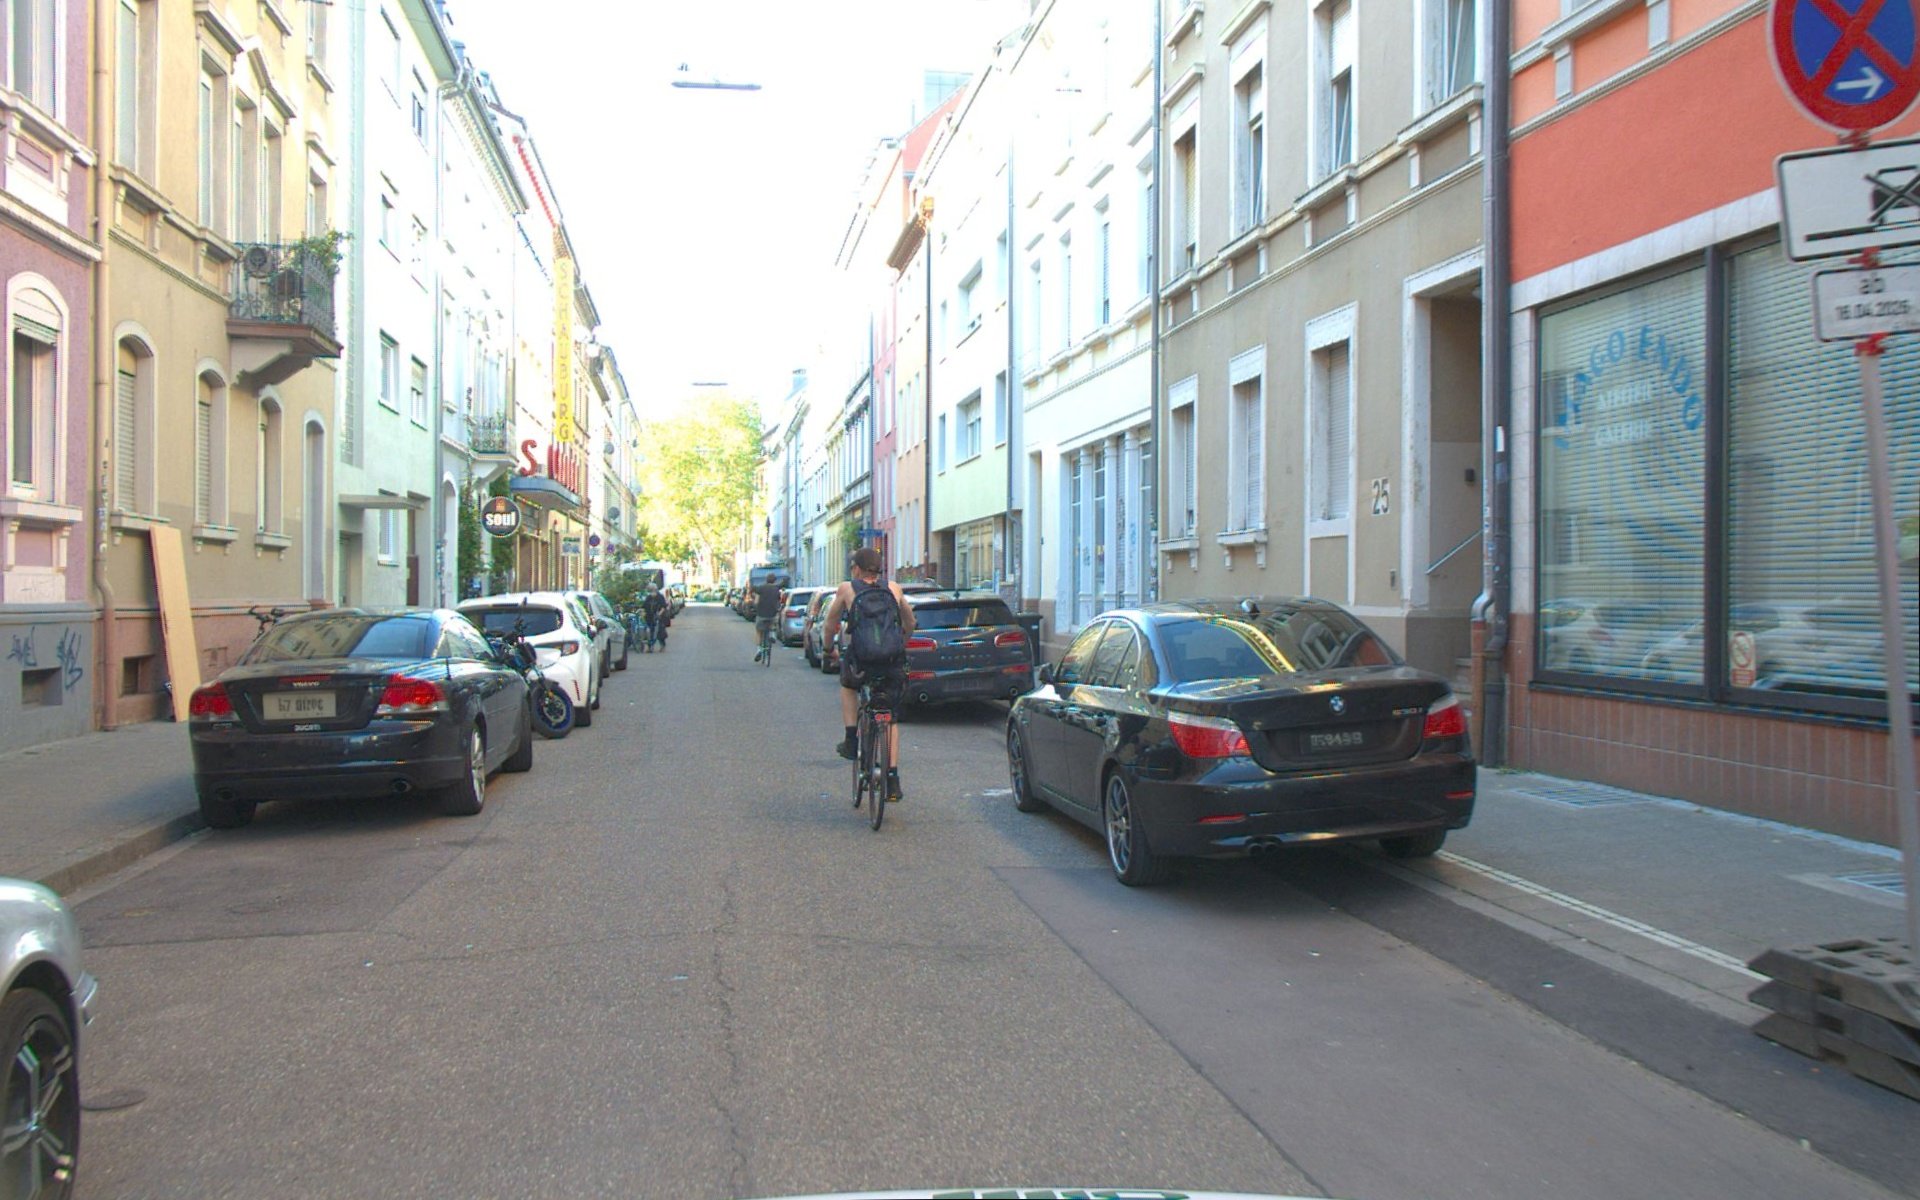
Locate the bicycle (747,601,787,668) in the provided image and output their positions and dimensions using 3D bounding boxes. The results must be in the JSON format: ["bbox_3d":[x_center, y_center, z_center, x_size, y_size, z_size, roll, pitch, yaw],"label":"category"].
[{"bbox_3d":[-3.855,0.661,32.896,0.689,1.229,2.337,0,1,-9],"label":"bicycle"}]

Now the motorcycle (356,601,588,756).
[{"bbox_3d":[-4.878,0.753,16.600,2.121,1.383,0.535,-3,2,-27],"label":"motorcycle"}]

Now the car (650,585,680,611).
[{"bbox_3d":[-17.546,-0.097,98.487,1.641,1.467,4.156,-2,0,-9],"label":"car"}]

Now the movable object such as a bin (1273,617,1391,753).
[{"bbox_3d":[3.193,0.717,14.224,0.724,1.094,0.674,-3,0,-16],"label":"movable object such as a bin"}]

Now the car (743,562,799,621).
[{"bbox_3d":[-8.978,-0.365,78.058,2.265,2.582,6.755,-2,0,-9],"label":"car"}]

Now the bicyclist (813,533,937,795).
[{"bbox_3d":[-0.588,0.416,11.101,0.689,1.662,1.088,1,-1,-9],"label":"bicyclist"}]

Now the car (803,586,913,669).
[{"bbox_3d":[-2.007,0.493,31.583,1.679,1.407,3.991,-2,0,-9],"label":"car"}]

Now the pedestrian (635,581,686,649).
[{"bbox_3d":[-7.179,0.360,39.645,0.760,1.606,0.894,1,-1,45],"label":"pedestrian"}]

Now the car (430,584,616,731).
[{"bbox_3d":[-4.981,0.594,19.323,1.641,1.467,4.156,-2,0,-9],"label":"car"}]

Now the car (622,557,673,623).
[{"bbox_3d":[-12.474,-0.412,66.005,1.875,2.540,4.154,-1,0,-11],"label":"car"}]

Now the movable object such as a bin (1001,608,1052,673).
[{"bbox_3d":[1.183,0.708,29.377,0.791,1.094,0.677,-3,0,-4],"label":"movable object such as a bin"}]

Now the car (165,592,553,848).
[{"bbox_3d":[-4.159,0.706,12.178,1.678,1.407,4.349,-2,1,-7],"label":"car"}]

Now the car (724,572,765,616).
[{"bbox_3d":[-13.450,-0.375,103.058,2.265,2.582,6.755,-2,0,-9],"label":"car"}]

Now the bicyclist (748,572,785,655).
[{"bbox_3d":[-3.837,0.257,32.806,0.689,1.633,0.811,0,1,-10],"label":"bicyclist"}]

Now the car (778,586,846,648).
[{"bbox_3d":[-4.159,0.453,46.086,1.591,1.577,3.991,-2,0,-9],"label":"car"}]

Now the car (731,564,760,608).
[{"bbox_3d":[-19.456,-1.246,149.992,2.265,3.833,6.755,-2,0,-9],"label":"car"}]

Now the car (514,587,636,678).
[{"bbox_3d":[-6.845,0.541,29.725,1.640,1.467,3.748,-2,0,-6],"label":"car"}]

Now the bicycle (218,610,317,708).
[{"bbox_3d":[-8.334,0.683,19.981,0.581,1.108,2.075,1,0,-9],"label":"bicycle"}]

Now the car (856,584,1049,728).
[{"bbox_3d":[-0.194,0.631,20.647,1.783,1.548,3.991,-2,0,-9],"label":"car"}]

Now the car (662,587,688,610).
[{"bbox_3d":[-19.619,-0.084,113.858,1.641,1.467,4.156,-2,0,-9],"label":"car"}]

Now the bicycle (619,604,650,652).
[{"bbox_3d":[-8.100,0.684,41.142,0.687,1.125,2.267,1,0,-13],"label":"bicycle"}]

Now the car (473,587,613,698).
[{"bbox_3d":[-6.167,0.585,24.789,1.641,1.467,3.760,-2,0,-9],"label":"car"}]

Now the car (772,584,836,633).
[{"bbox_3d":[-4.879,0.252,51.398,1.679,1.418,3.991,-2,0,-9],"label":"car"}]

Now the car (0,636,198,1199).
[{"bbox_3d":[-2.648,0.833,2.291,1.679,1.407,4.496,-2,0,-9],"label":"car"}]

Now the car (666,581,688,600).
[{"bbox_3d":[-22.778,-0.778,133.366,1.641,1.467,4.156,-2,0,-9],"label":"car"}]

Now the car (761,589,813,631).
[{"bbox_3d":[-6.555,0.355,62.436,1.679,1.472,3.991,-2,0,-9],"label":"car"}]

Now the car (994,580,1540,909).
[{"bbox_3d":[1.528,0.672,10.190,1.783,1.463,4.780,-2,0,-9],"label":"car"}]

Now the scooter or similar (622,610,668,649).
[{"bbox_3d":[-7.490,0.705,39.327,0.760,0.888,0.765,1,-1,45],"label":"scooter or similar"}]

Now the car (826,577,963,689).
[{"bbox_3d":[-1.116,0.488,26.379,1.679,1.583,3.991,-2,0,-9],"label":"car"}]

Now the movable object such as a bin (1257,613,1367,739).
[{"bbox_3d":[3.239,0.687,15.261,0.791,1.094,0.677,-3,0,-4],"label":"movable object such as a bin"}]

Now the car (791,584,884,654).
[{"bbox_3d":[-2.754,0.398,36.427,1.679,1.407,3.991,-2,0,-9],"label":"car"}]

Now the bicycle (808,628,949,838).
[{"bbox_3d":[-0.598,0.832,11.203,0.689,1.229,2.337,1,0,-9],"label":"bicycle"}]
